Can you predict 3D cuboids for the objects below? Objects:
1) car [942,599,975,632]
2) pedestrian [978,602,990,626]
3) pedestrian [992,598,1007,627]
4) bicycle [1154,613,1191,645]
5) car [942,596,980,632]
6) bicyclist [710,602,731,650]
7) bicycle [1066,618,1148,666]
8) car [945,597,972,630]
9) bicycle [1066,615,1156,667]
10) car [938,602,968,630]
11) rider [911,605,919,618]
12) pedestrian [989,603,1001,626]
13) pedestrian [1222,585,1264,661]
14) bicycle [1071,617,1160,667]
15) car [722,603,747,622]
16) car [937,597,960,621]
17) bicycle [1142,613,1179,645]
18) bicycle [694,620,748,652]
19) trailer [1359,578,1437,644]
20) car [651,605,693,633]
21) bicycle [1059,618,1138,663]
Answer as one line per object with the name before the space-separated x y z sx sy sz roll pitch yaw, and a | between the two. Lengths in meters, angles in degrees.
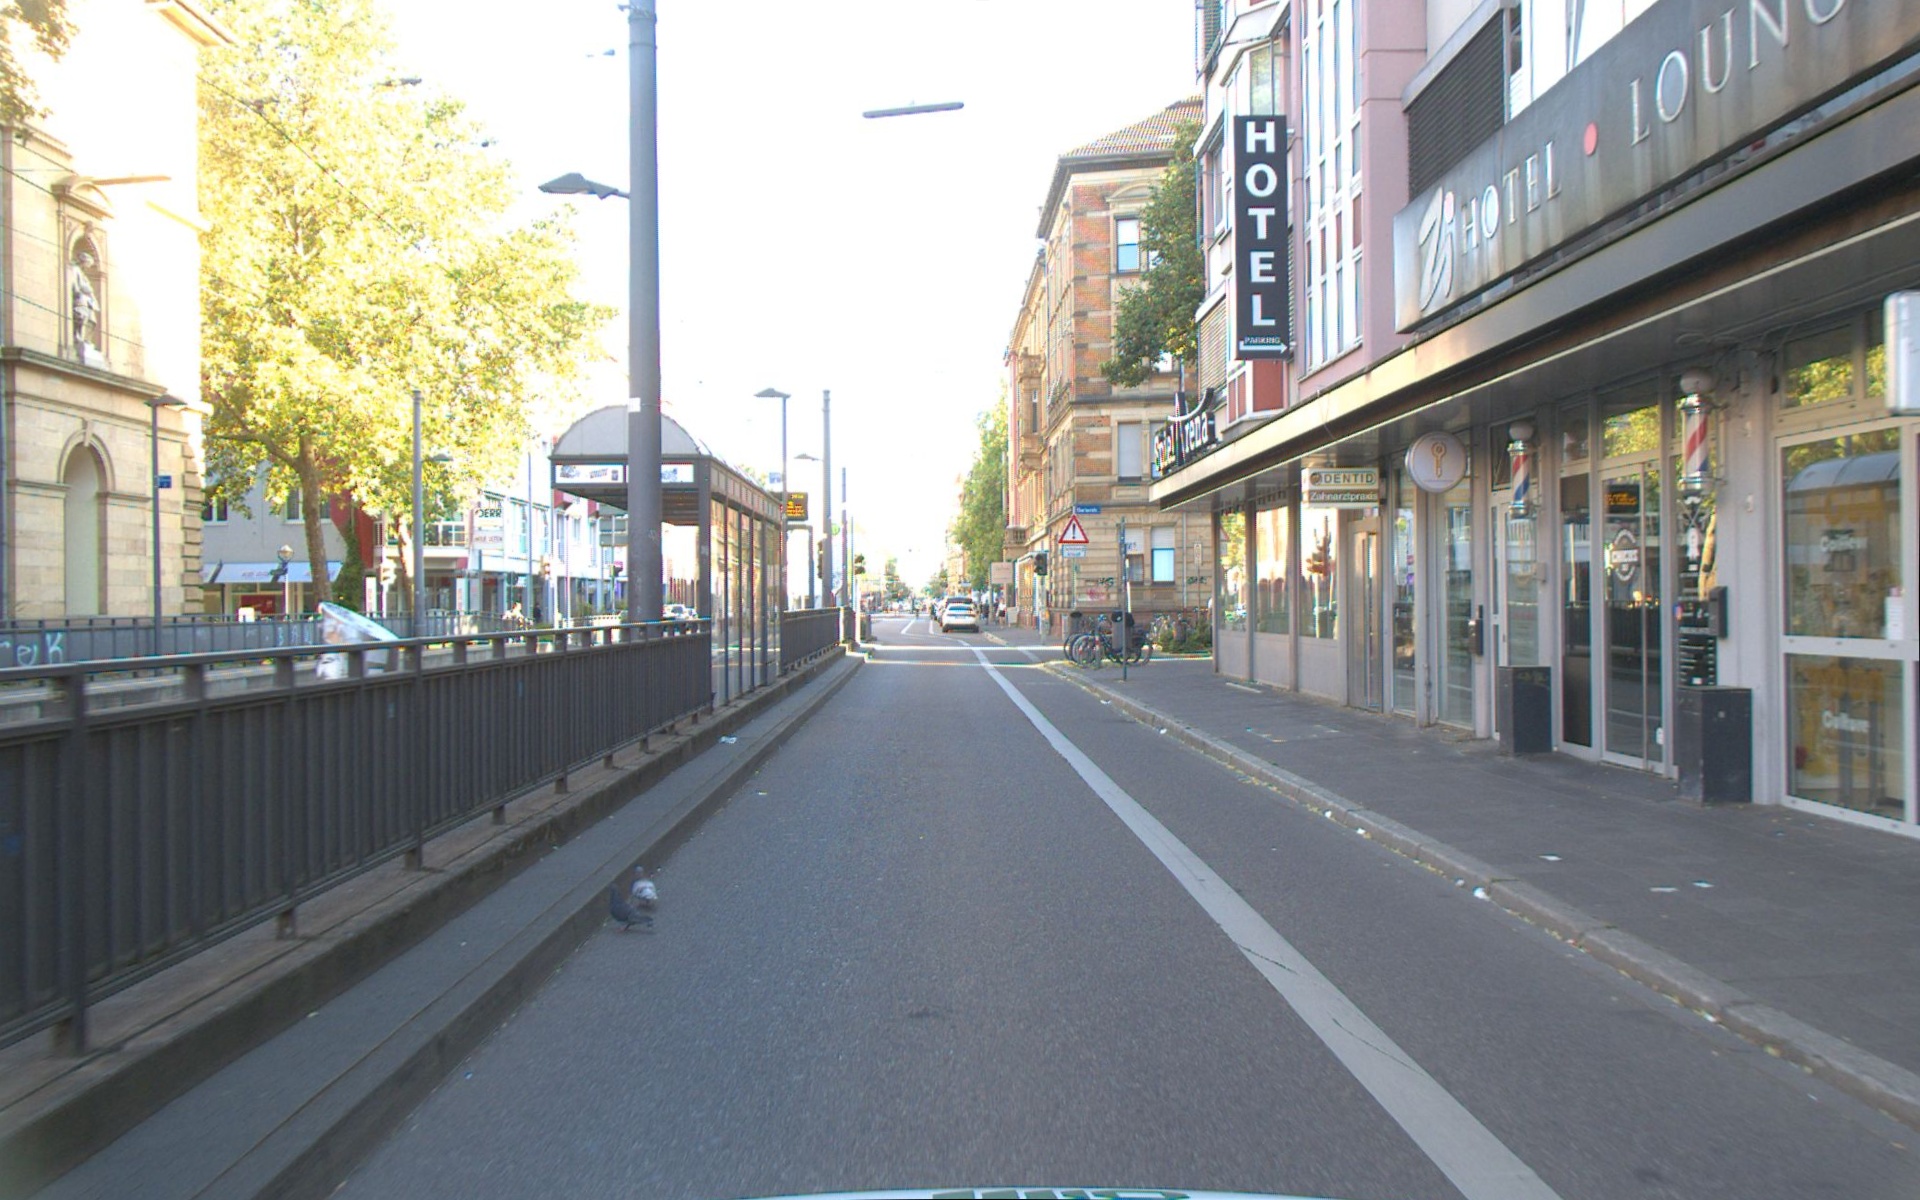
car | -0.085 0.924 99.068 1.915 1.901 4.988 1 0 0
pedestrian | 1.691 0.981 116.484 0.760 1.594 0.913 -4 0 0
pedestrian | 2.235 0.690 93.572 0.760 1.594 0.914 -4 0 2
bicycle | 7.069 0.969 55.118 0.410 1.042 1.896 0 0 -20
car | 0.045 0.735 87.022 1.926 1.802 4.874 1 -1 0
bicyclist | -8.736 0.938 60.368 0.728 1.742 0.533 0 0 -4
bicycle | 3.375 0.955 38.055 1.797 1.072 0.717 0 0 -5
car | -0.065 0.897 109.796 1.670 2.157 3.707 0 -1 2
bicycle | 3.400 0.930 37.326 1.931 1.124 0.614 -1 0 -5
car | -0.504 1.109 115.164 1.910 1.819 5.178 1 -1 -2
rider | -5.055 1.294 185.779 0.865 1.507 0.713 1 -1 0
pedestrian | 2.475 1.009 116.509 0.760 1.594 0.913 -4 0 0
pedestrian | 6.487 0.505 37.913 0.767 1.694 1.033 0 1 -1
bicycle | 3.433 0.923 36.670 1.875 1.066 0.680 0 0 -5
car | -19.675 1.055 144.380 1.832 1.628 4.250 0 0 -4
car | -0.972 0.808 144.811 1.931 2.049 4.557 -2 0 0
bicycle | 6.667 0.954 55.109 0.444 1.042 1.896 0 0 -20
bicycle | -8.715 1.308 60.375 1.856 1.096 0.584 2 -1 -4
trailer | 12.376 0.330 46.891 1.924 1.763 3.936 -2 -1 12
car | -19.164 1.302 110.284 2.049 1.743 4.816 1 -1 -2
bicycle | 3.318 0.966 39.728 1.797 1.072 0.710 0 0 -5
